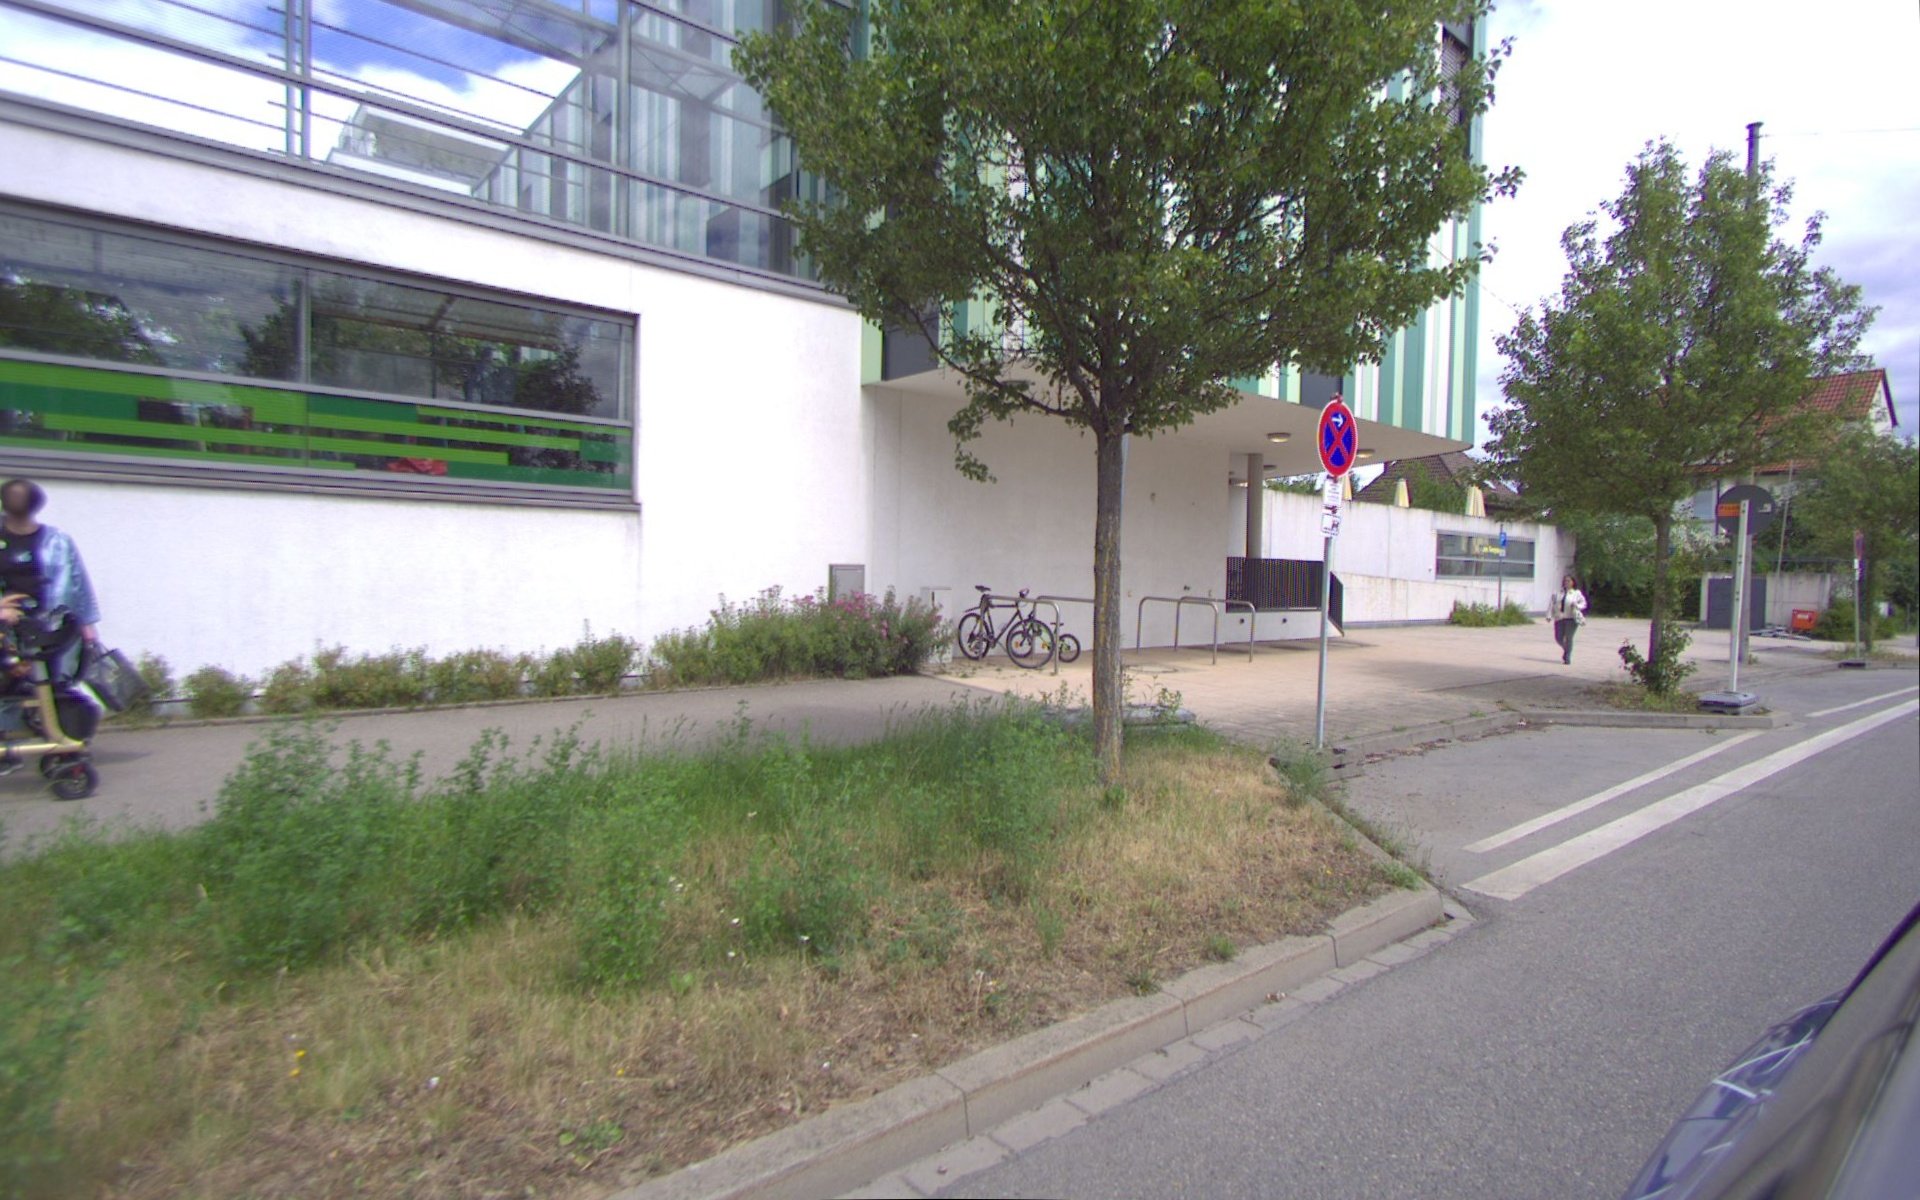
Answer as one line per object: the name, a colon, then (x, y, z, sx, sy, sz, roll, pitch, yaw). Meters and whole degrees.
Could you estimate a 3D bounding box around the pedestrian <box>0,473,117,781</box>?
pedestrian: (-5.246, 0.135, 5.825, 0.596, 1.675, 0.551, 0, 2, -41)

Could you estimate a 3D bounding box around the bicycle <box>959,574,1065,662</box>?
bicycle: (0.666, 0.217, 13.386, 1.462, 1.058, 0.303, 4, 2, 38)

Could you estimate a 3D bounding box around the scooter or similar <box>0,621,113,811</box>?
scooter or similar: (-4.872, 0.590, 5.296, 0.670, 0.916, 0.422, 0, 2, -41)

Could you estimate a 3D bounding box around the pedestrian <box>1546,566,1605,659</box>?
pedestrian: (10.820, 0.202, 17.787, 0.853, 1.570, 0.582, 0, 2, -41)

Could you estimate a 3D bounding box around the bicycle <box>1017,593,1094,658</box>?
bicycle: (1.342, 0.352, 14.230, 1.011, 0.852, 0.305, 3, 2, 18)
